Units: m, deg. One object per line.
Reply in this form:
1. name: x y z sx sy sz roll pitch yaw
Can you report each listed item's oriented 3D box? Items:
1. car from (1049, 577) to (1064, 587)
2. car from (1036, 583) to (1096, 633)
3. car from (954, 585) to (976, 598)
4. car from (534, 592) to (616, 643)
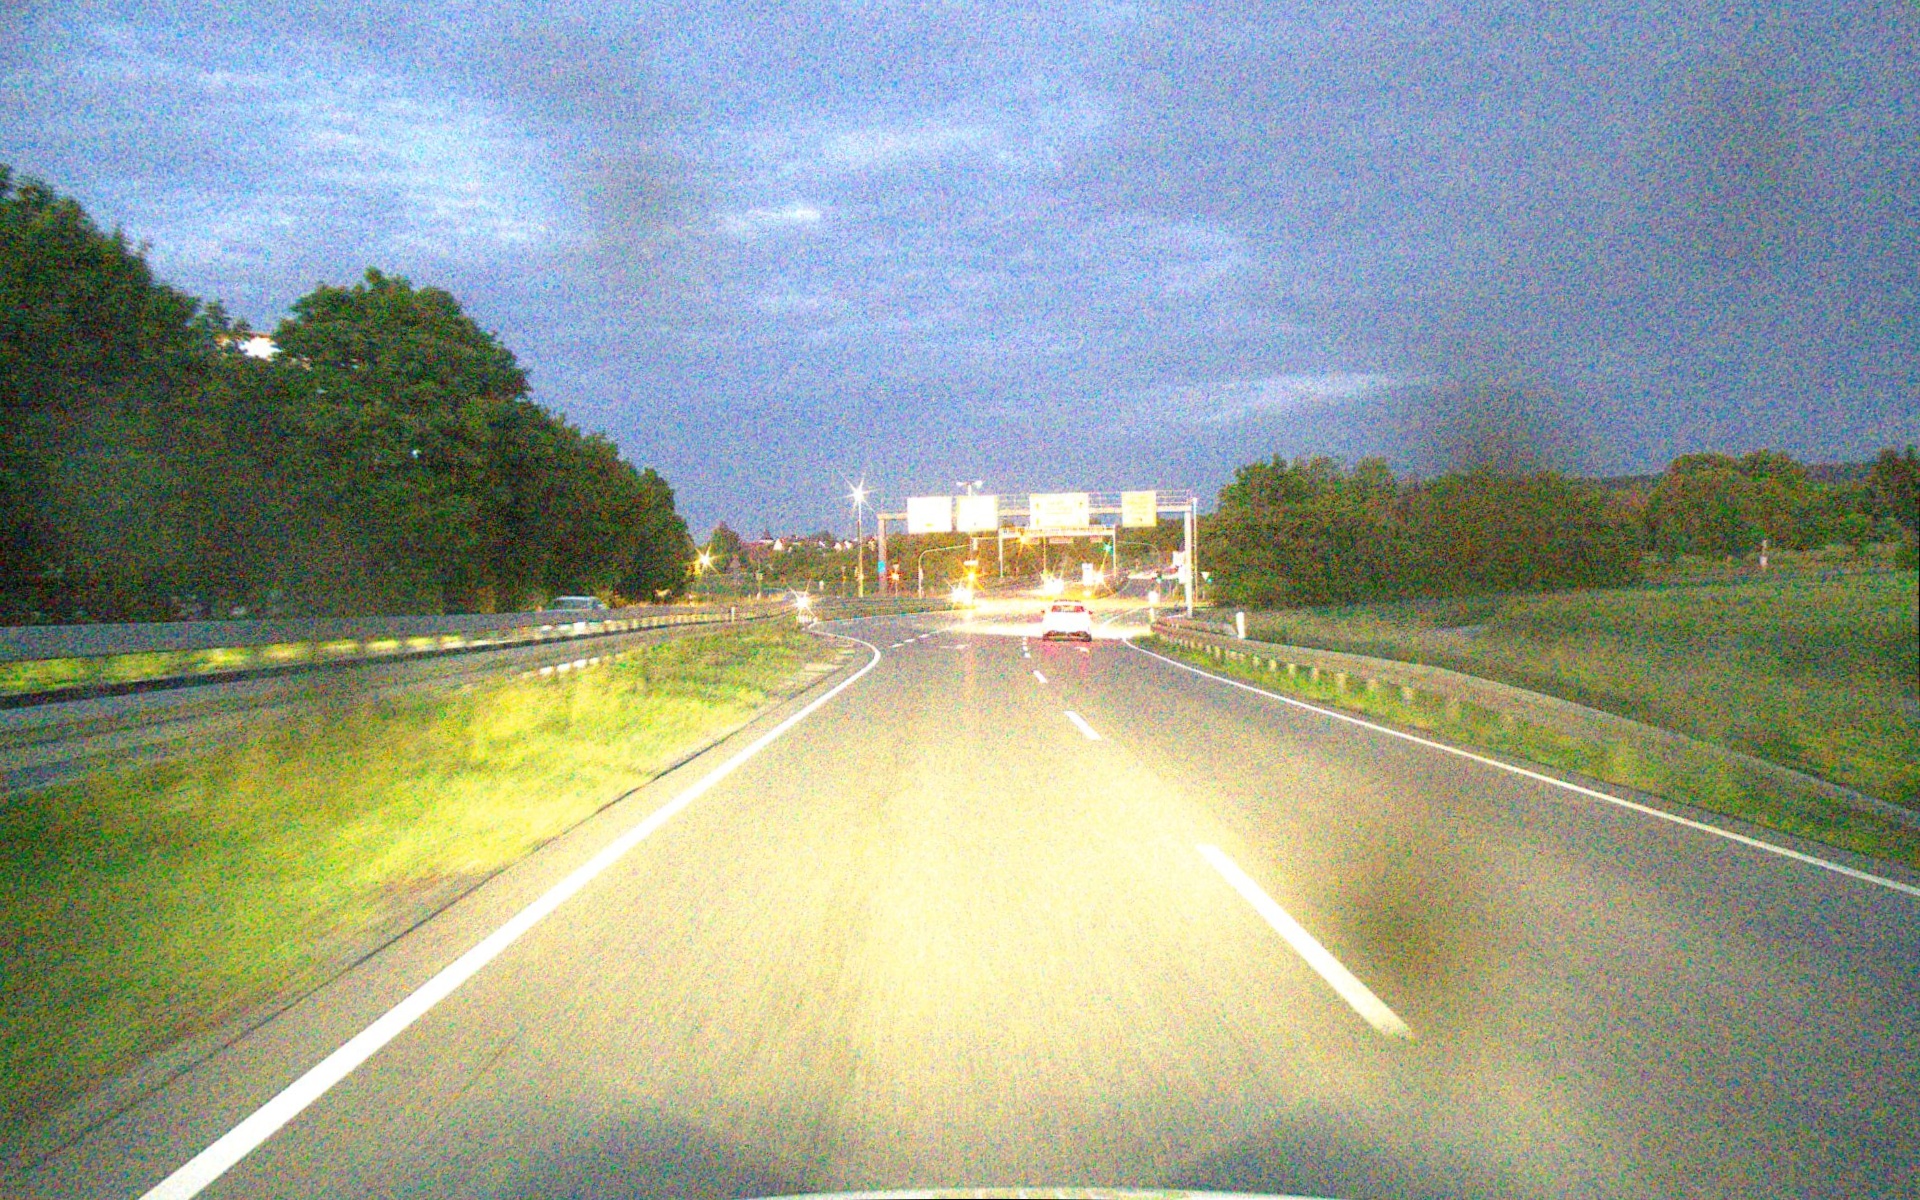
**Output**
1. car: 14.660 -2.727 251.247 1.951 1.507 4.686 0 1 9
2. car: 3.835 0.270 60.302 1.966 1.639 3.846 -3 0 2
3. car: 0.660 -1.000 195.804 1.951 1.450 4.536 0 1 9
4. car: -13.808 0.595 59.553 1.734 1.669 4.661 -3 0 0
